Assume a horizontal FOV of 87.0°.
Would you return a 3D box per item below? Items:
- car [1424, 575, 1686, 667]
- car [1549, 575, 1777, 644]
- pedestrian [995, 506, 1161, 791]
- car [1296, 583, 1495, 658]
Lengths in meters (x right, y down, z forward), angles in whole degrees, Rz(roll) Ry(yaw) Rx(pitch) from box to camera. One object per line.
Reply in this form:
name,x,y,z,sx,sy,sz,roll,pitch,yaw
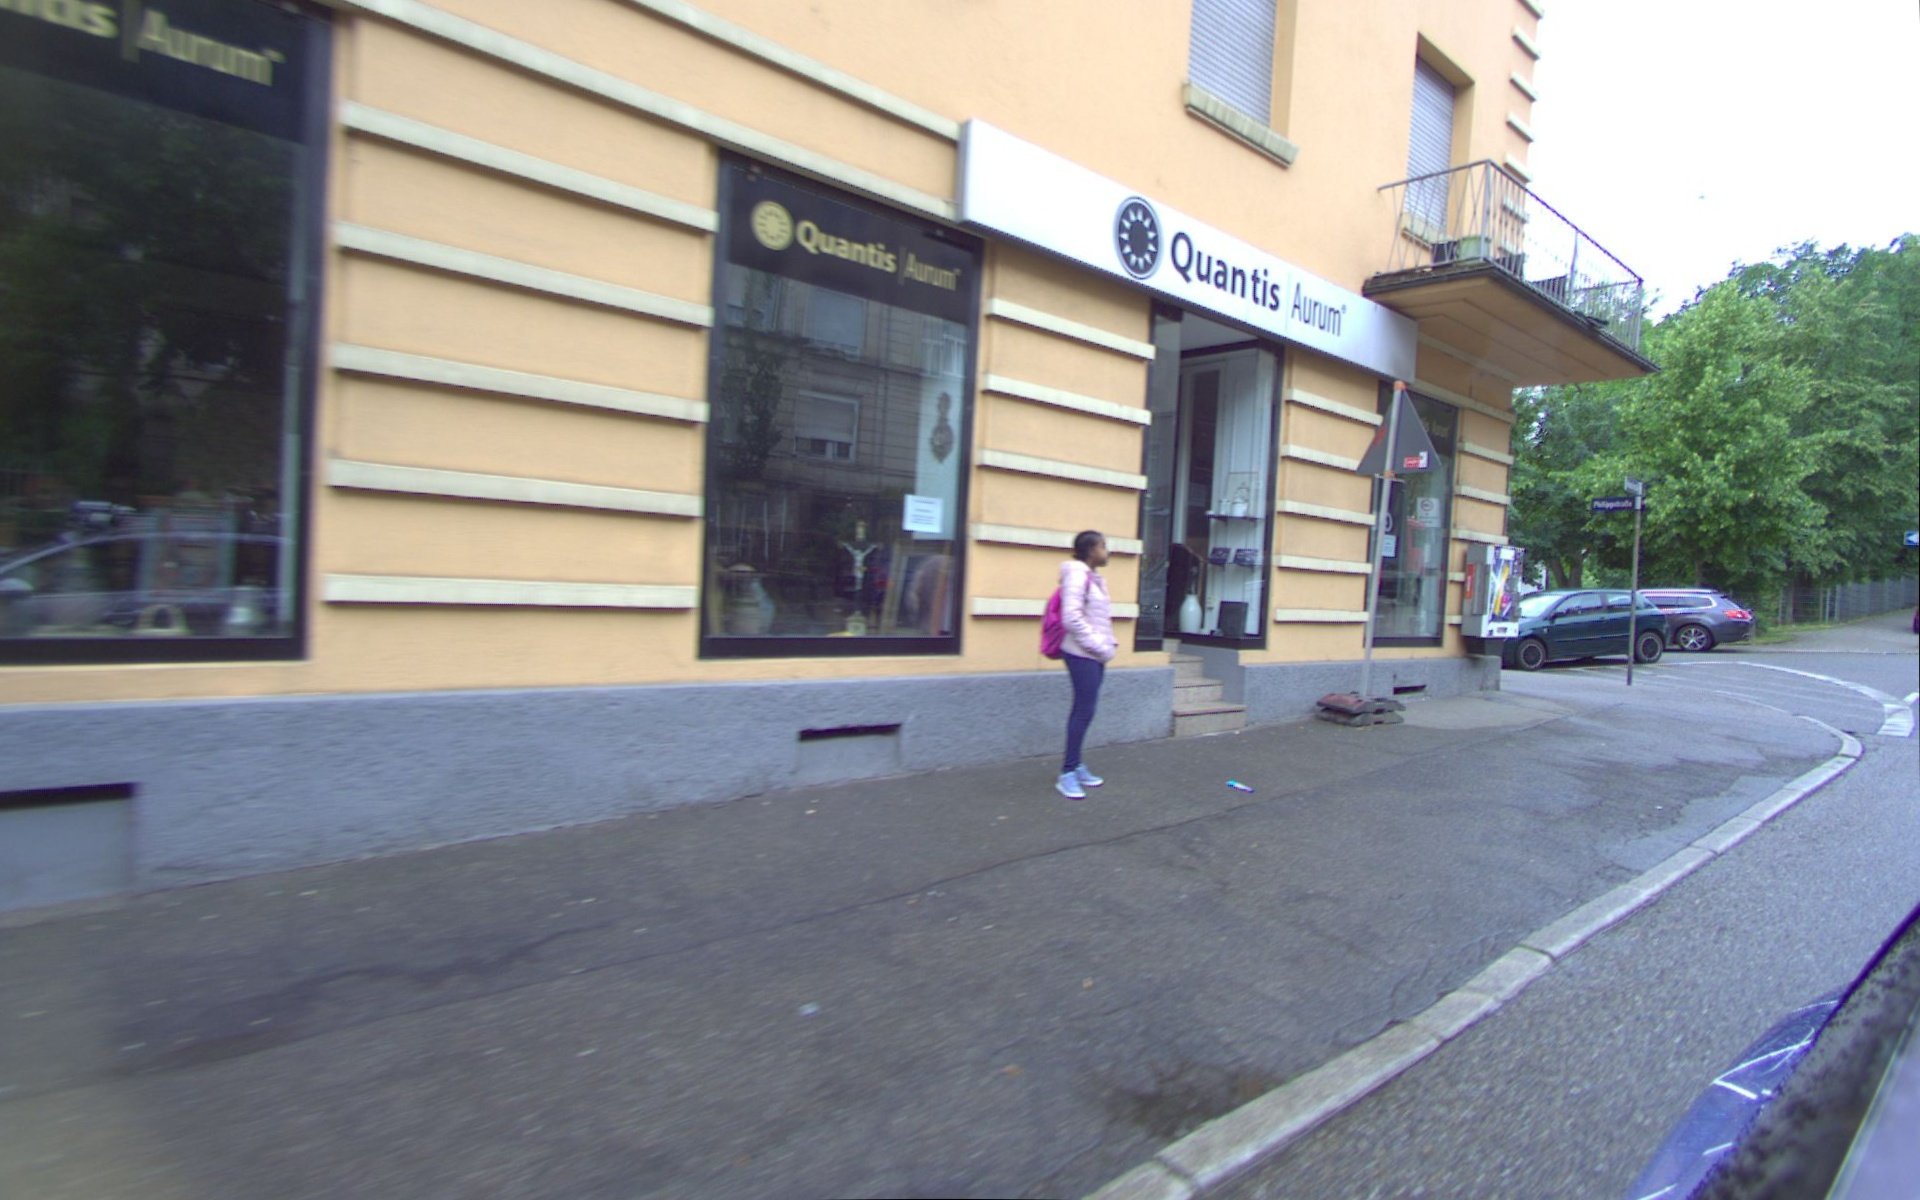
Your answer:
car,11.476,0.362,19.660,4.027,1.487,1.858,-3,1,-8
car,16.939,0.236,24.505,1.970,1.517,4.269,1,-1,-45
pedestrian,0.725,0.245,6.191,0.762,1.608,0.704,3,3,31
car,9.208,0.399,21.480,3.560,1.511,1.712,0,1,-14
